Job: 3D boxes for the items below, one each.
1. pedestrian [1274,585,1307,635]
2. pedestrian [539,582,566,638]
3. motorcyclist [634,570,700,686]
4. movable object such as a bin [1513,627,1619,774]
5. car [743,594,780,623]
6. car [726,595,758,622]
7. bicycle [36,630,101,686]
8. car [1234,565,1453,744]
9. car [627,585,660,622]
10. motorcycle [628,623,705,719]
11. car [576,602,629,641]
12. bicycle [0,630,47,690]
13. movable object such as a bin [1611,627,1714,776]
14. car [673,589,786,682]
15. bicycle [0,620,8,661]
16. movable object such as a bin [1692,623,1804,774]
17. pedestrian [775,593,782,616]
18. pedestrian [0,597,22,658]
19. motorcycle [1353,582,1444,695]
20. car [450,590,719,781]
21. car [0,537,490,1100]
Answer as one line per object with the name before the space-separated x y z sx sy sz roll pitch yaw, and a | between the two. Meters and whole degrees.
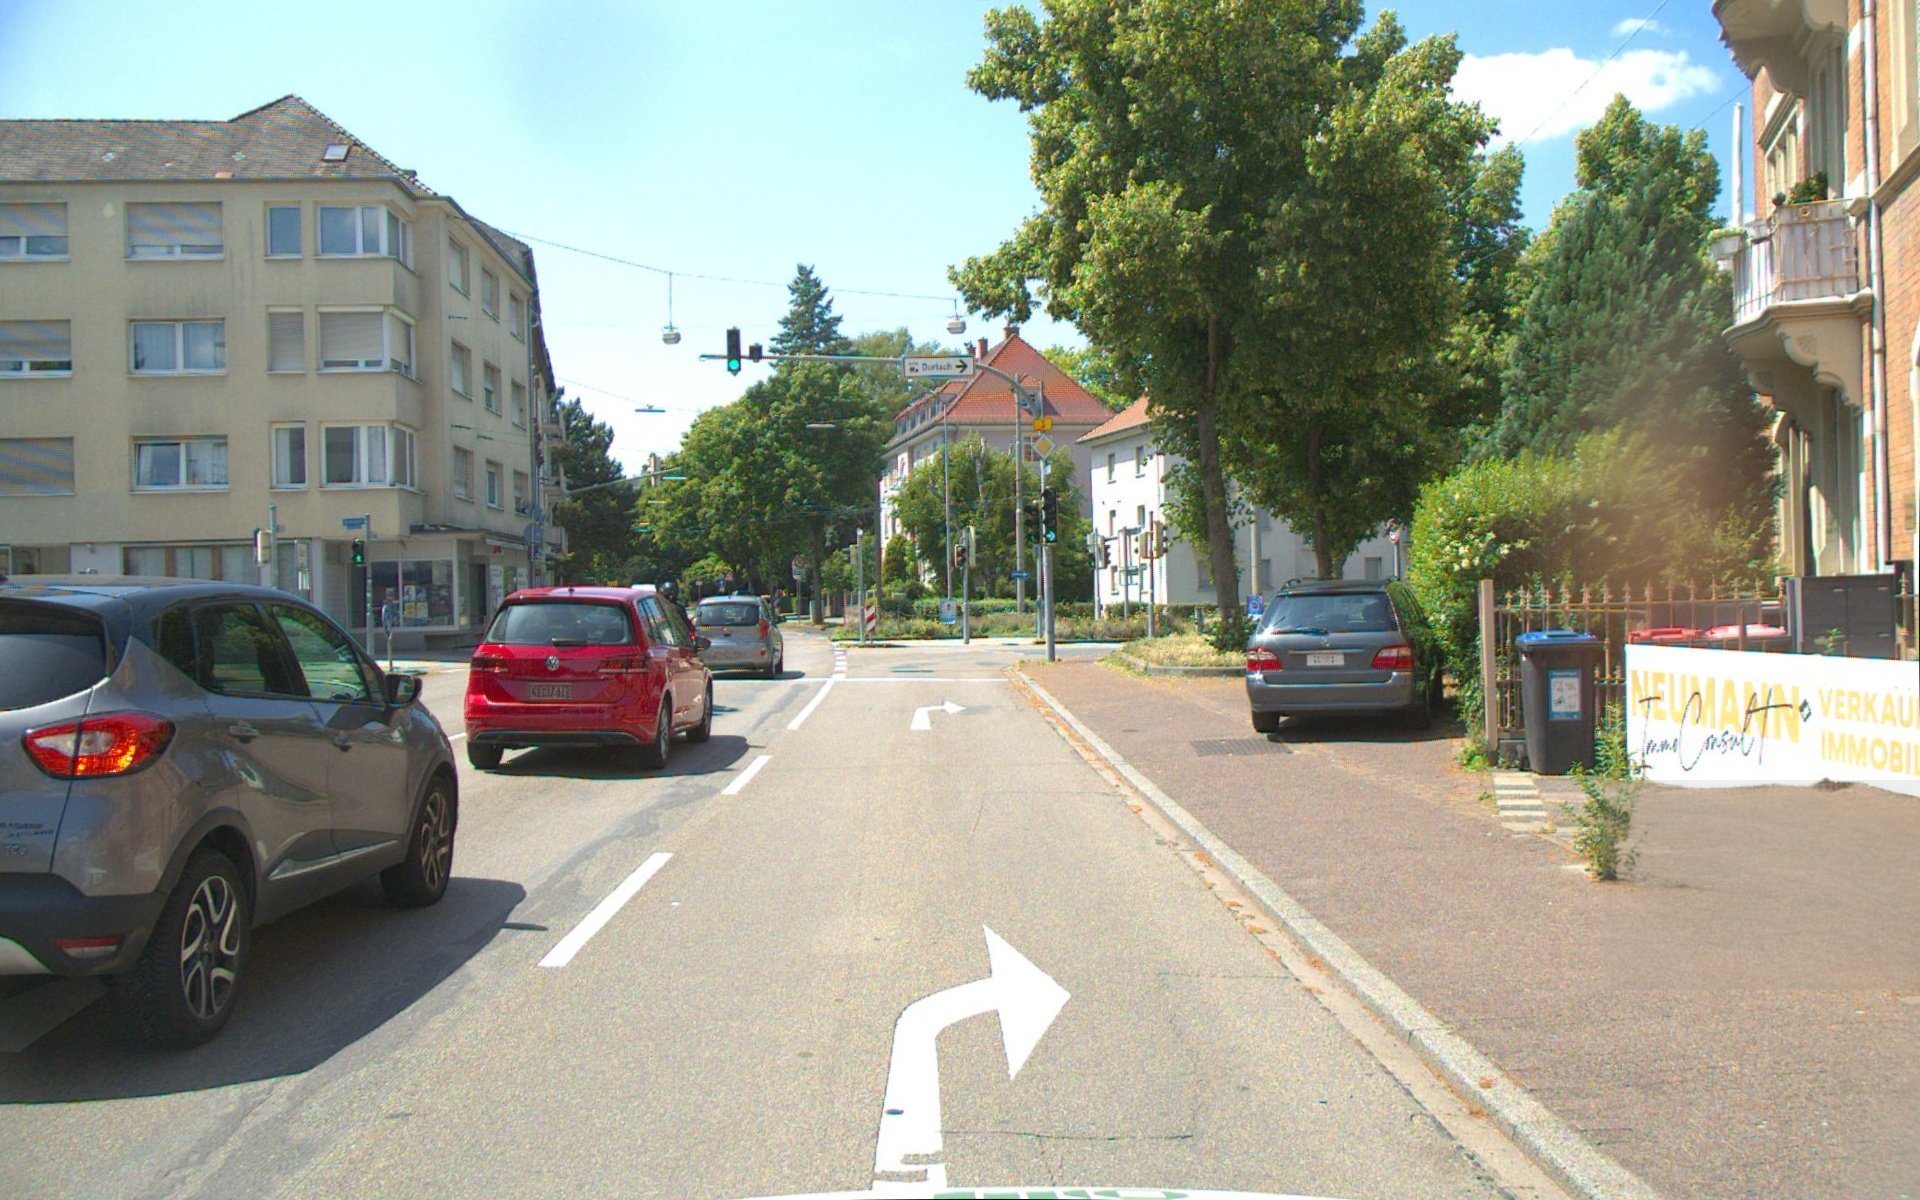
pedestrian | 11.675 0.342 58.442 0.826 1.735 0.755 -1 0 -29
pedestrian | -14.608 0.354 59.313 0.919 1.965 0.973 -1 0 -14
motorcyclist | -3.832 0.362 21.703 0.697 1.471 1.018 -1 0 -3
movable object such as a bin | 4.686 0.769 12.814 0.635 1.090 0.637 -1 0 9
car | -13.035 0.537 108.495 1.960 1.839 3.986 -1 0 -14
car | -16.044 0.629 121.589 1.960 1.940 3.986 -1 0 -14
bicycle | -16.618 1.068 30.861 0.389 0.984 1.781 -1 0 -6
car | 4.309 0.480 17.970 1.796 1.575 5.159 -2 1 19
car | -23.989 0.285 125.434 2.177 2.544 7.533 -4 0 -11
motorcycle | -3.827 0.903 21.726 0.696 1.154 2.196 -1 0 -3
car | -14.751 0.896 68.049 1.960 1.546 3.984 0 -1 -15
bicycle | -16.471 1.039 28.750 0.389 0.984 1.744 -1 0 -6
movable object such as a bin | 5.372 0.762 12.673 0.540 1.090 0.706 -1 0 8
car | -4.235 0.623 30.882 1.763 1.585 4.034 -1 0 -4
bicycle | -25.476 1.045 42.511 1.703 1.044 0.498 -1 0 -3
movable object such as a bin | 5.950 0.729 12.518 0.563 1.090 0.706 -1 0 8
pedestrian | -13.387 0.335 121.738 0.499 1.685 0.465 0 0 -9
pedestrian | -23.774 0.675 40.964 0.672 1.501 0.648 -1 0 -1
motorcycle | 5.754 0.469 21.592 0.911 1.325 2.282 -2 1 20
car | -3.439 0.720 15.870 1.762 1.585 4.036 0 0 -2
car | -3.378 0.645 6.881 1.718 1.660 3.999 -1 0 -1
